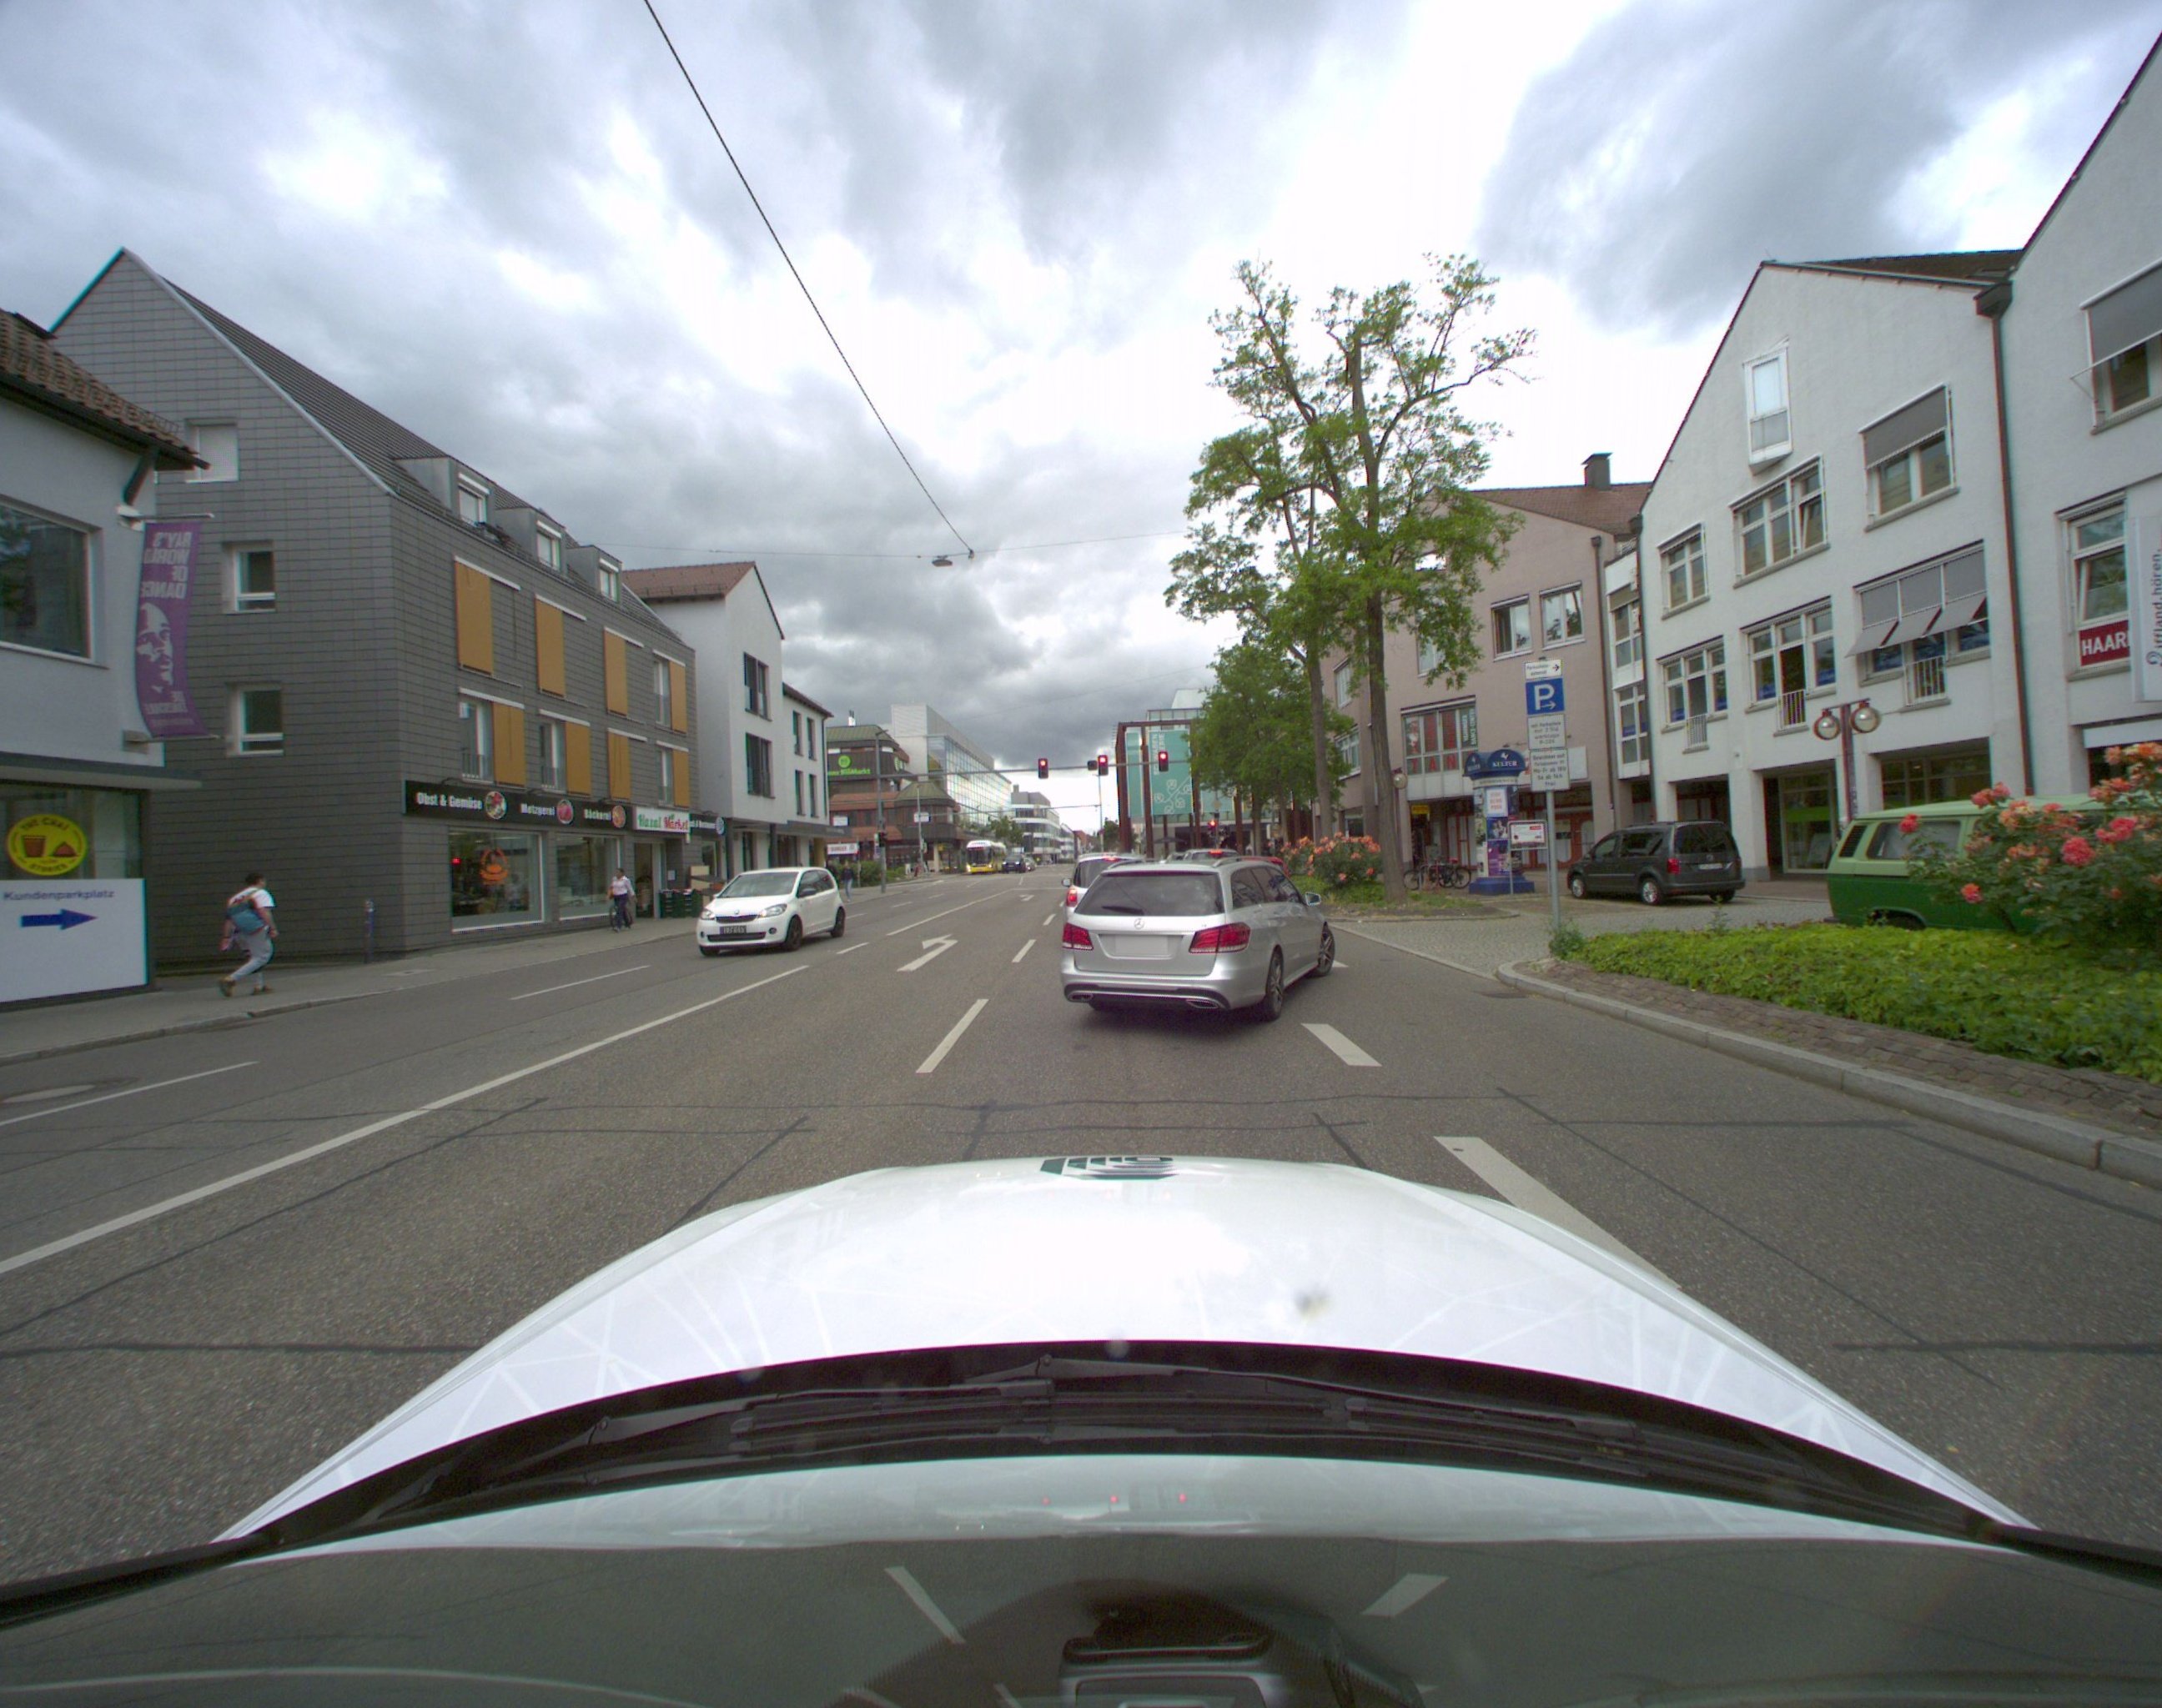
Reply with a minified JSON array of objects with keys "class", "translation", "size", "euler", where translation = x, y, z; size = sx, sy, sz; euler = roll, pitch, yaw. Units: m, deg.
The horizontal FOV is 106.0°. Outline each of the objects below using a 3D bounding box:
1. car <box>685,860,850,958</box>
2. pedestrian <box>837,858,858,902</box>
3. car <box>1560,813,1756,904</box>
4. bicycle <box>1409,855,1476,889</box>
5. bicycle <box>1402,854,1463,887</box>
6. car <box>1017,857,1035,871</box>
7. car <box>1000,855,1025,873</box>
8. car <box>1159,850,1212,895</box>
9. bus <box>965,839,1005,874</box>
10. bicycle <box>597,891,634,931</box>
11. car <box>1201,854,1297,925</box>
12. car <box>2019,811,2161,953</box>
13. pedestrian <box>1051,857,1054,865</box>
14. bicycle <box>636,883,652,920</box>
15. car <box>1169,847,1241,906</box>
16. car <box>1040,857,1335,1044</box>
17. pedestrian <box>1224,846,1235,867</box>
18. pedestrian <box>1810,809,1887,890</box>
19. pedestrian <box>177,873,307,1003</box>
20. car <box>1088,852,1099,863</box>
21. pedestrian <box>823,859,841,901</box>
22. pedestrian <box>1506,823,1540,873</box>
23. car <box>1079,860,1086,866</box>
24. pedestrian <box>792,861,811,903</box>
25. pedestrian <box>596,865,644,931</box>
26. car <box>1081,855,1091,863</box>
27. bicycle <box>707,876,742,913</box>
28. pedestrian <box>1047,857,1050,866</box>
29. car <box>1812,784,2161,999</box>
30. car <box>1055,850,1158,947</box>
[{"class":"car","translation":[-5.648,0.917,15.120],"size":[1.568,1.488,3.465],"euler":[-3,0,1]},{"class":"pedestrian","translation":[-9.833,1.076,34.272],"size":[0.681,1.790,0.647],"euler":[-2,0,-9]},{"class":"car","translation":[13.370,0.095,19.202],"size":[1.633,1.831,3.963],"euler":[-3,0,-2]},{"class":"bicycle","translation":[11.586,0.580,26.141],"size":[1.891,0.997,0.468],"euler":[-2,0,6]},{"class":"bicycle","translation":[11.506,0.547,26.698],"size":[1.760,0.997,0.447],"euler":[-2,0,6]},{"class":"car","translation":[-5.879,1.094,86.920],"size":[1.550,1.392,3.288],"euler":[-2,0,1]},{"class":"car","translation":[-6.621,0.950,79.346],"size":[1.987,1.706,4.065],"euler":[-2,0,1]},{"class":"car","translation":[3.935,0.655,31.177],"size":[1.581,1.595,3.868],"euler":[0,0,0]},{"class":"bus","translation":[-9.571,0.256,81.997],"size":[2.677,3.261,8.654],"euler":[-2,0,1]},{"class":"bicycle","translation":[-12.367,1.502,21.673],"size":[0.325,0.954,1.479],"euler":[-2,0,-9]},{"class":"car","translation":[3.688,0.721,18.370],"size":[1.580,1.443,3.350],"euler":[0,0,2]},{"class":"car","translation":[12.976,0.278,8.270],"size":[1.790,1.542,4.393],"euler":[-4,0,0]},{"class":"pedestrian","translation":[-5.805,1.423,164.310],"size":[0.520,1.734,0.487],"euler":[-2,0,-14]},{"class":"bicycle","translation":[-13.983,1.495,26.035],"size":[0.389,1.127,1.278],"euler":[-2,0,-29]},{"class":"car","translation":[3.653,0.631,24.539],"size":[1.581,1.634,3.916],"euler":[0,0,0]},{"class":"car","translation":[1.422,0.765,8.697],"size":[1.798,1.448,4.395],"euler":[-1,0,26]},{"class":"pedestrian","translation":[12.184,0.226,66.775],"size":[0.652,1.650,0.557],"euler":[-2,0,-13]},{"class":"pedestrian","translation":[16.615,-0.098,17.645],"size":[0.786,1.659,0.819],"euler":[-4,0,1]},{"class":"pedestrian","translation":[-11.644,1.129,11.342],"size":[0.751,1.705,0.981],"euler":[1,0,1]},{"class":"car","translation":[2.291,0.638,146.791],"size":[1.987,1.949,4.951],"euler":[-2,0,1]},{"class":"pedestrian","translation":[-10.666,1.093,34.880],"size":[0.568,1.775,0.645],"euler":[-2,0,-7]},{"class":"pedestrian","translation":[16.312,-0.204,30.080],"size":[0.786,1.793,0.819],"euler":[-2,0,1]},{"class":"car","translation":[0.396,2.603,232.558],"size":[1.793,1.540,4.068],"euler":[-2,0,3]},{"class":"pedestrian","translation":[-11.207,1.104,32.644],"size":[0.653,1.650,0.556],"euler":[-2,0,-18]},{"class":"pedestrian","translation":[-11.749,1.114,20.789],"size":[0.725,1.610,0.753],"euler":[-2,0,2]},{"class":"car","translation":[1.029,0.981,164.096],"size":[1.793,1.540,4.068],"euler":[-2,0,3]},{"class":"bicycle","translation":[-12.469,1.388,28.536],"size":[0.385,1.186,1.825],"euler":[-3,0,-1]},{"class":"pedestrian","translation":[-6.582,1.441,164.146],"size":[0.520,1.734,0.487],"euler":[-2,0,-14]},{"class":"car","translation":[10.319,0.273,8.095],"size":[1.874,1.876,4.605],"euler":[-4,0,0]},{"class":"car","translation":[0.461,0.718,14.817],"size":[1.634,1.527,3.395],"euler":[-1,0,2]}]
